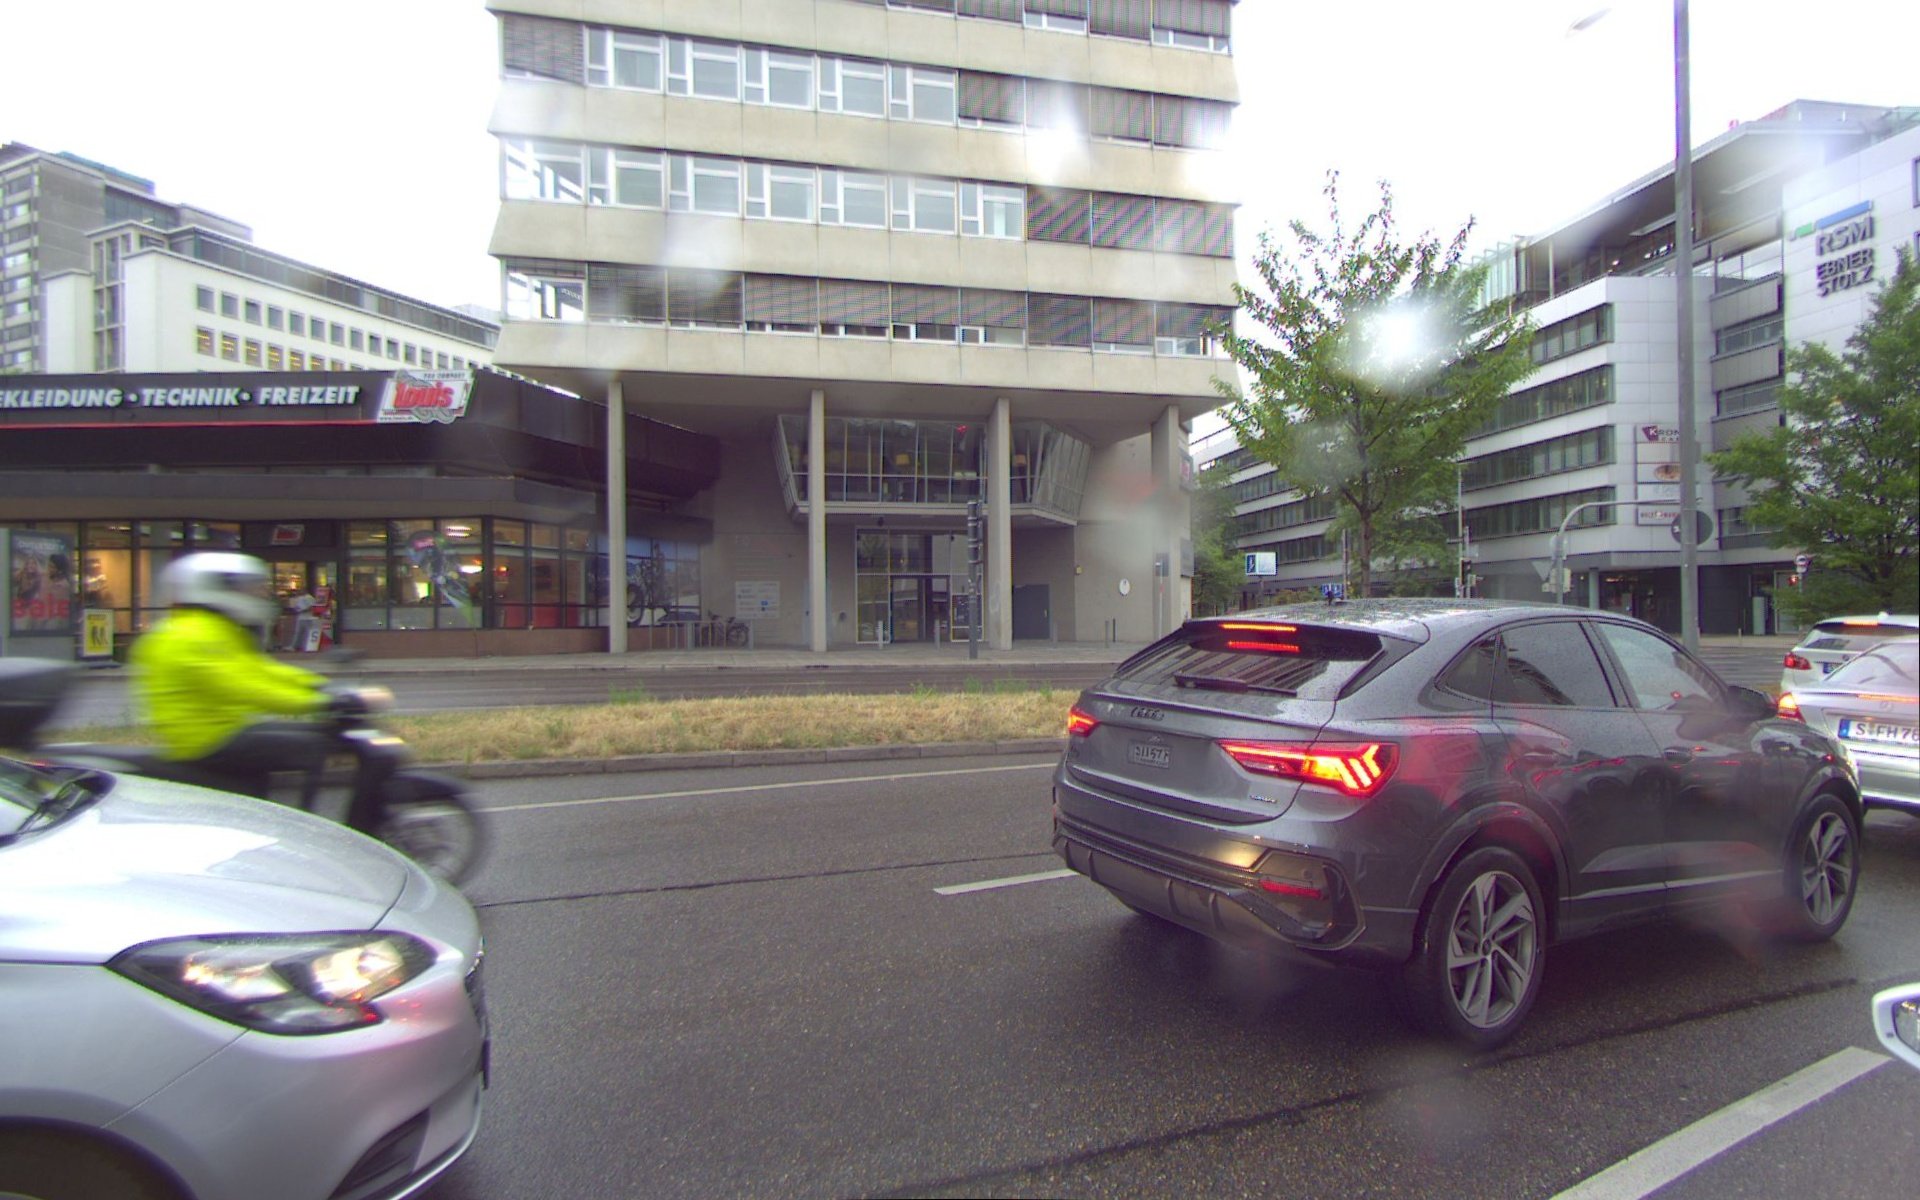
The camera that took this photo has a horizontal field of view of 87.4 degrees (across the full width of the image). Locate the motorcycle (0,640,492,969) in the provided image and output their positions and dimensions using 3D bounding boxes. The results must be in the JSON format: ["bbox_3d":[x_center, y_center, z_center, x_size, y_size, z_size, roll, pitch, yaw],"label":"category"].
[{"bbox_3d":[-3.230,0.804,4.467,2.005,1.200,0.796,2,0,-30],"label":"motorcycle"}]

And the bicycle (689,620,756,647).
[{"bbox_3d":[-8.099,1.151,34.340,2.165,0.871,0.456,2,0,-31],"label":"bicycle"}]

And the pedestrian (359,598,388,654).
[{"bbox_3d":[-16.631,0.734,28.485,0.548,1.591,0.541,1,0,-9],"label":"pedestrian"}]

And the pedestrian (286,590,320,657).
[{"bbox_3d":[-17.742,0.629,27.134,0.548,1.767,0.614,1,0,-9],"label":"pedestrian"}]

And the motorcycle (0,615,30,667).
[{"bbox_3d":[-23.538,0.989,24.196,0.353,1.249,1.669,1,0,20],"label":"motorcycle"}]

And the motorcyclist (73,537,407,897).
[{"bbox_3d":[-3.132,0.465,4.506,1.105,1.398,0.766,2,0,-30],"label":"motorcyclist"}]

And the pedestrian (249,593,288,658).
[{"bbox_3d":[-17.851,0.655,25.940,0.601,1.633,0.614,1,0,-9],"label":"pedestrian"}]

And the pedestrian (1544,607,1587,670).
[{"bbox_3d":[16.582,1.055,27.508,0.751,1.706,0.677,1,0,-16],"label":"pedestrian"}]

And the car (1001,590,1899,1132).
[{"bbox_3d":[2.410,0.767,4.631,4.220,1.542,1.640,1,0,-30],"label":"car"}]

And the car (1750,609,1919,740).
[{"bbox_3d":[12.624,0.936,13.213,3.940,1.506,1.704,2,0,-21],"label":"car"}]

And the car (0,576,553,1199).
[{"bbox_3d":[-2.864,0.667,1.695,3.831,1.455,1.639,1,0,-32],"label":"car"}]

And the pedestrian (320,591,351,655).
[{"bbox_3d":[-17.571,0.639,28.269,0.548,1.767,0.541,1,0,-9],"label":"pedestrian"}]

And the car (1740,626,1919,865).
[{"bbox_3d":[7.640,0.955,7.083,4.050,1.426,1.567,2,0,-22],"label":"car"}]

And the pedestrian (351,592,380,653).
[{"bbox_3d":[-17.321,0.652,29.288,0.548,1.767,0.541,1,0,-9],"label":"pedestrian"}]
